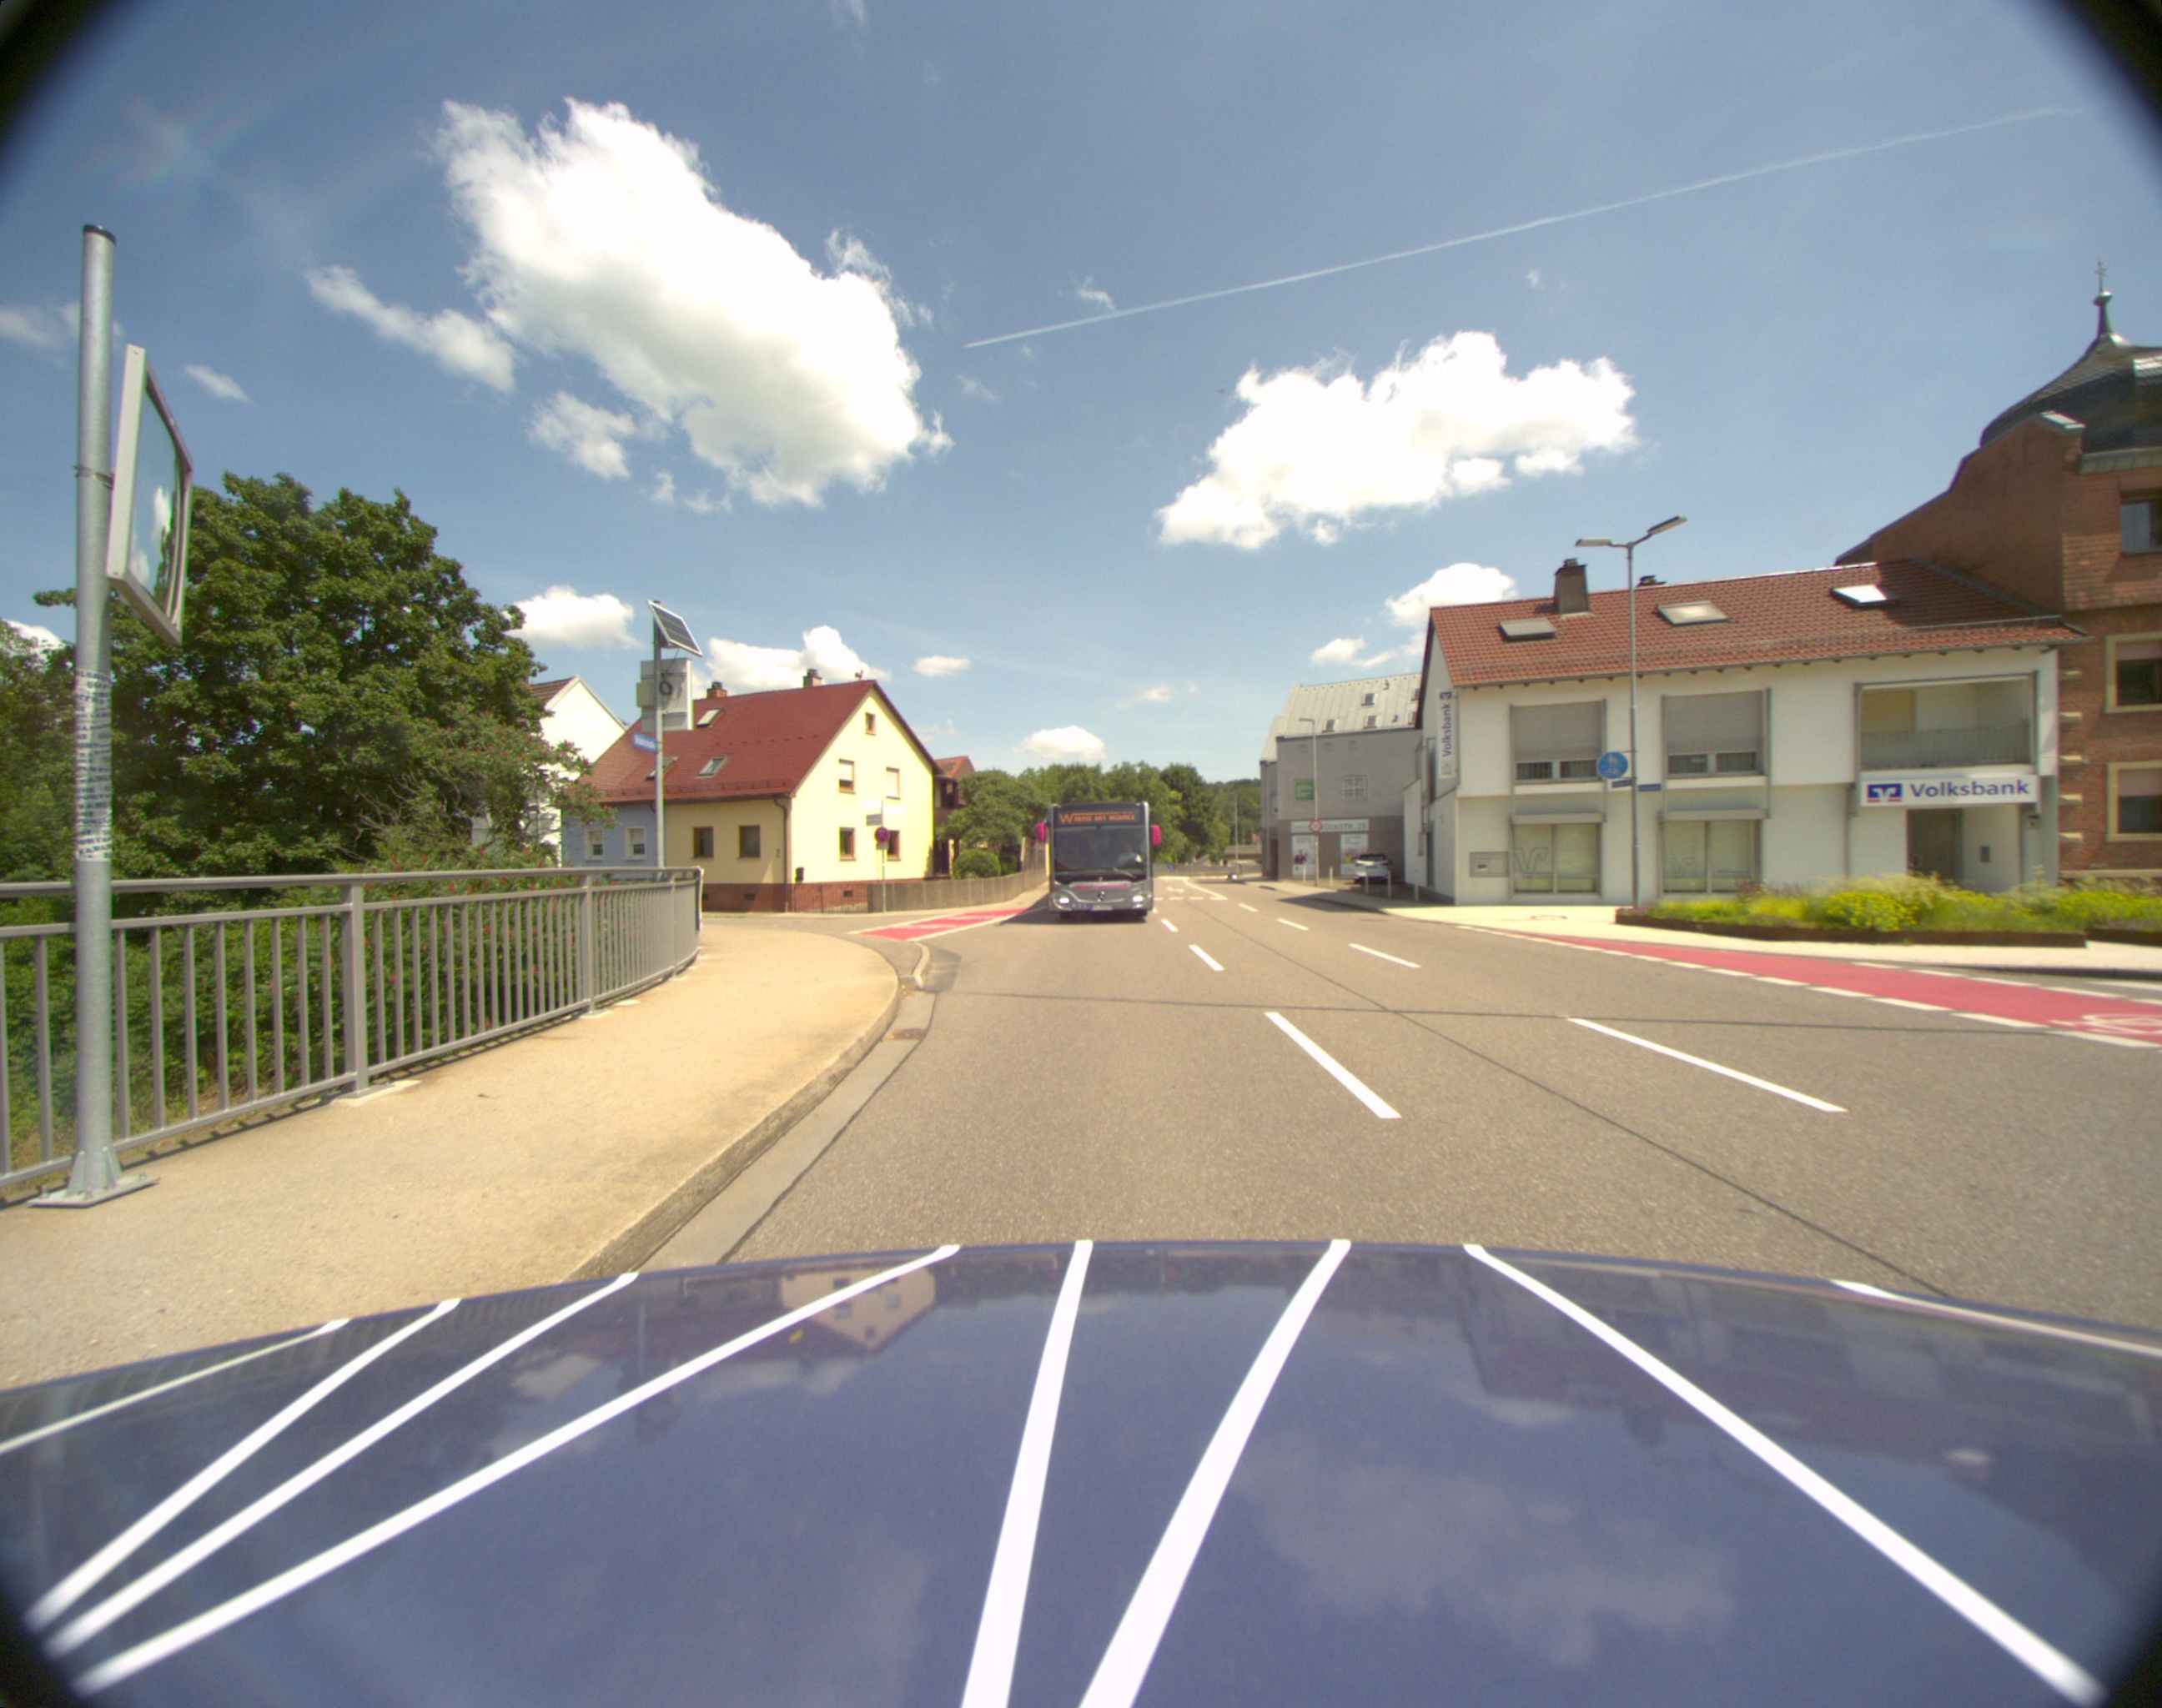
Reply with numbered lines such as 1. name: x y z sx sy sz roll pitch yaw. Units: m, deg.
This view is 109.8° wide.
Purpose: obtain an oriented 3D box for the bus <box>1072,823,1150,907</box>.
1. bus: 1.369 0.506 31.375 2.755 2.949 9.286 0 -2 4

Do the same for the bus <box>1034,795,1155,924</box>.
1. bus: 0.671 0.255 22.021 2.754 2.949 9.286 0 -2 5

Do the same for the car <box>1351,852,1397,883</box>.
1. car: 15.407 0.683 39.865 1.995 1.565 4.260 0 0 24
